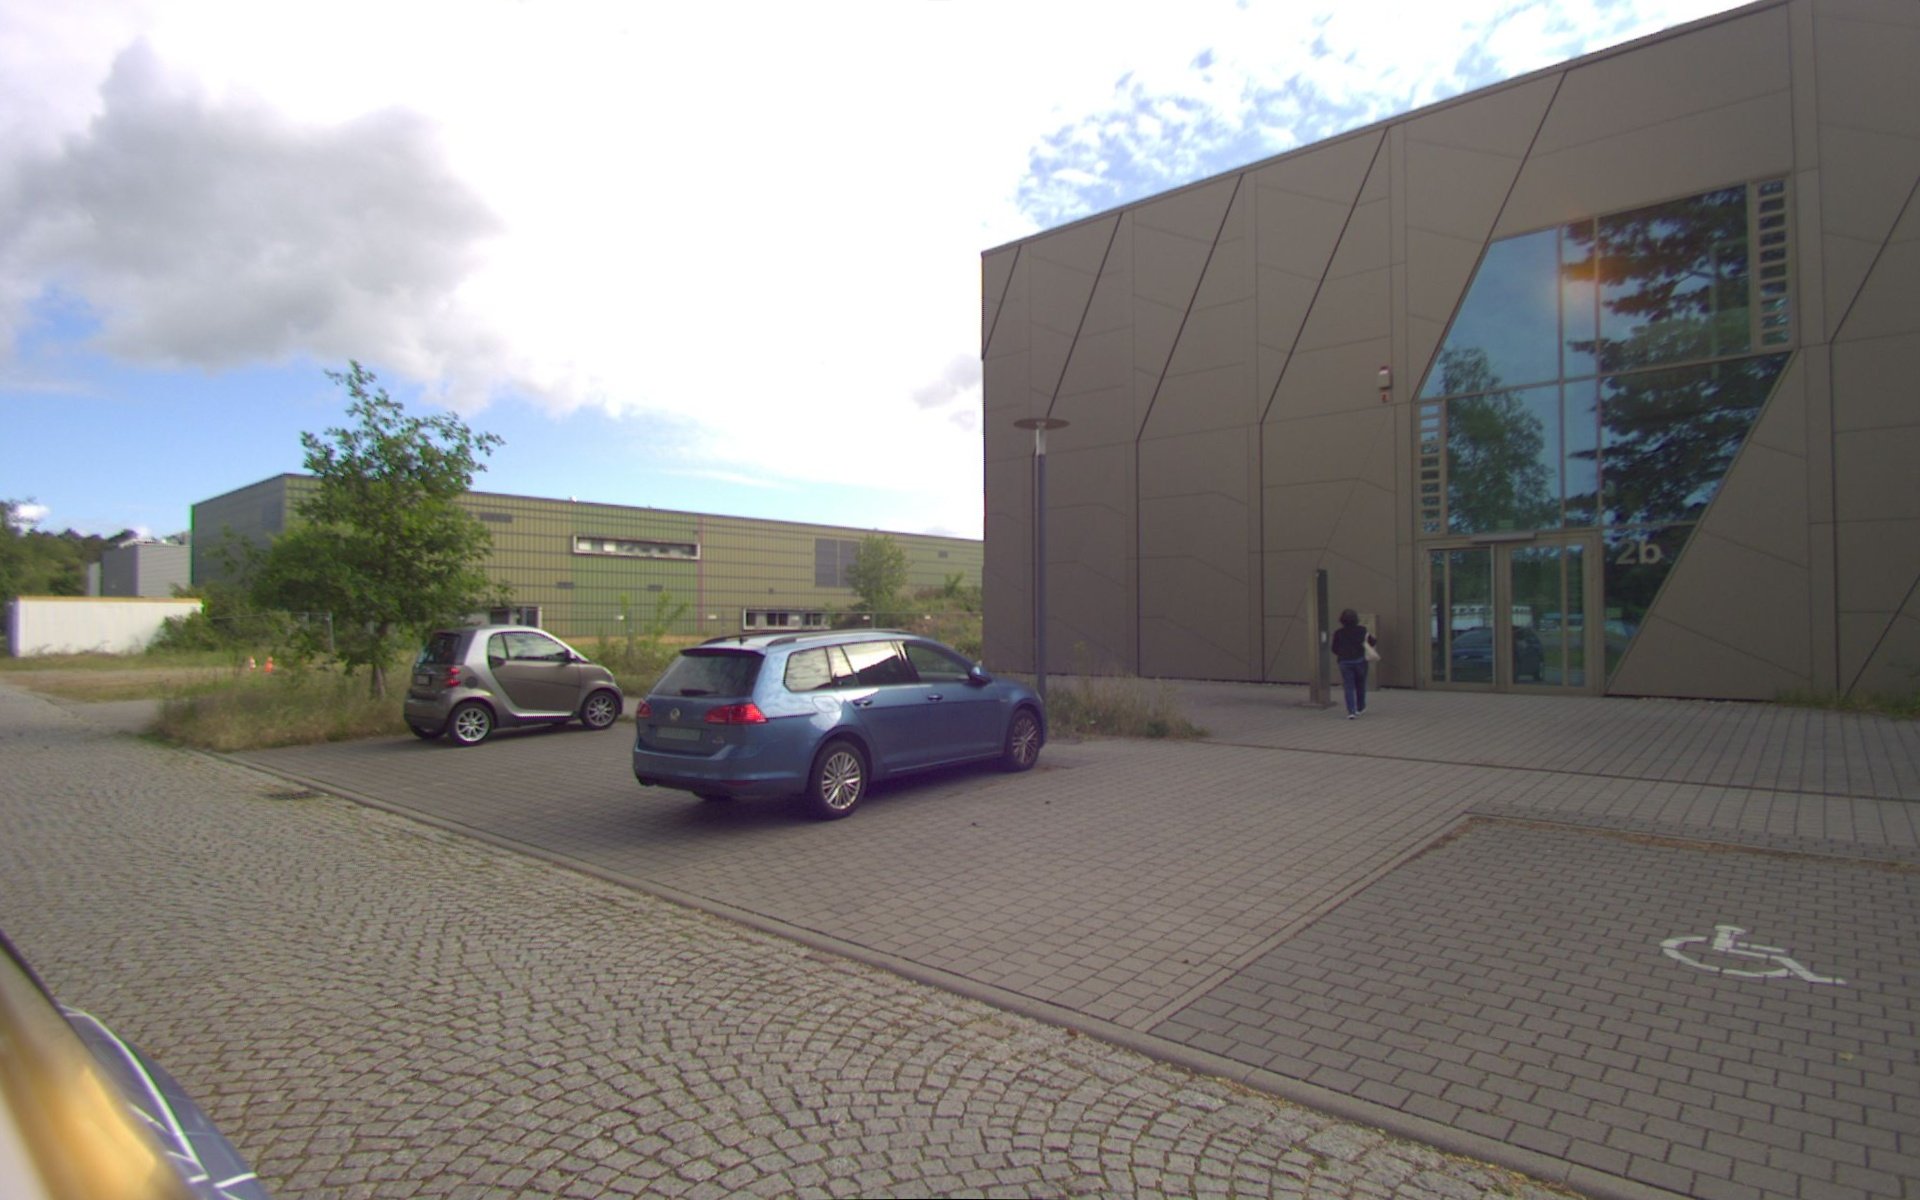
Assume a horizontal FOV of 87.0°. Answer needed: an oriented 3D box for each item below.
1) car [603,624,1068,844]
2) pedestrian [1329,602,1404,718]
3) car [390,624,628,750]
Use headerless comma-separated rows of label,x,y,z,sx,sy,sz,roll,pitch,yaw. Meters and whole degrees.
car,-0.886,1.000,9.341,1.771,1.439,4.264,-2,-1,38
pedestrian,5.515,0.797,13.788,0.811,1.506,0.981,-1,-2,16
car,-6.307,1.141,14.276,1.609,1.523,2.627,-2,-1,40
